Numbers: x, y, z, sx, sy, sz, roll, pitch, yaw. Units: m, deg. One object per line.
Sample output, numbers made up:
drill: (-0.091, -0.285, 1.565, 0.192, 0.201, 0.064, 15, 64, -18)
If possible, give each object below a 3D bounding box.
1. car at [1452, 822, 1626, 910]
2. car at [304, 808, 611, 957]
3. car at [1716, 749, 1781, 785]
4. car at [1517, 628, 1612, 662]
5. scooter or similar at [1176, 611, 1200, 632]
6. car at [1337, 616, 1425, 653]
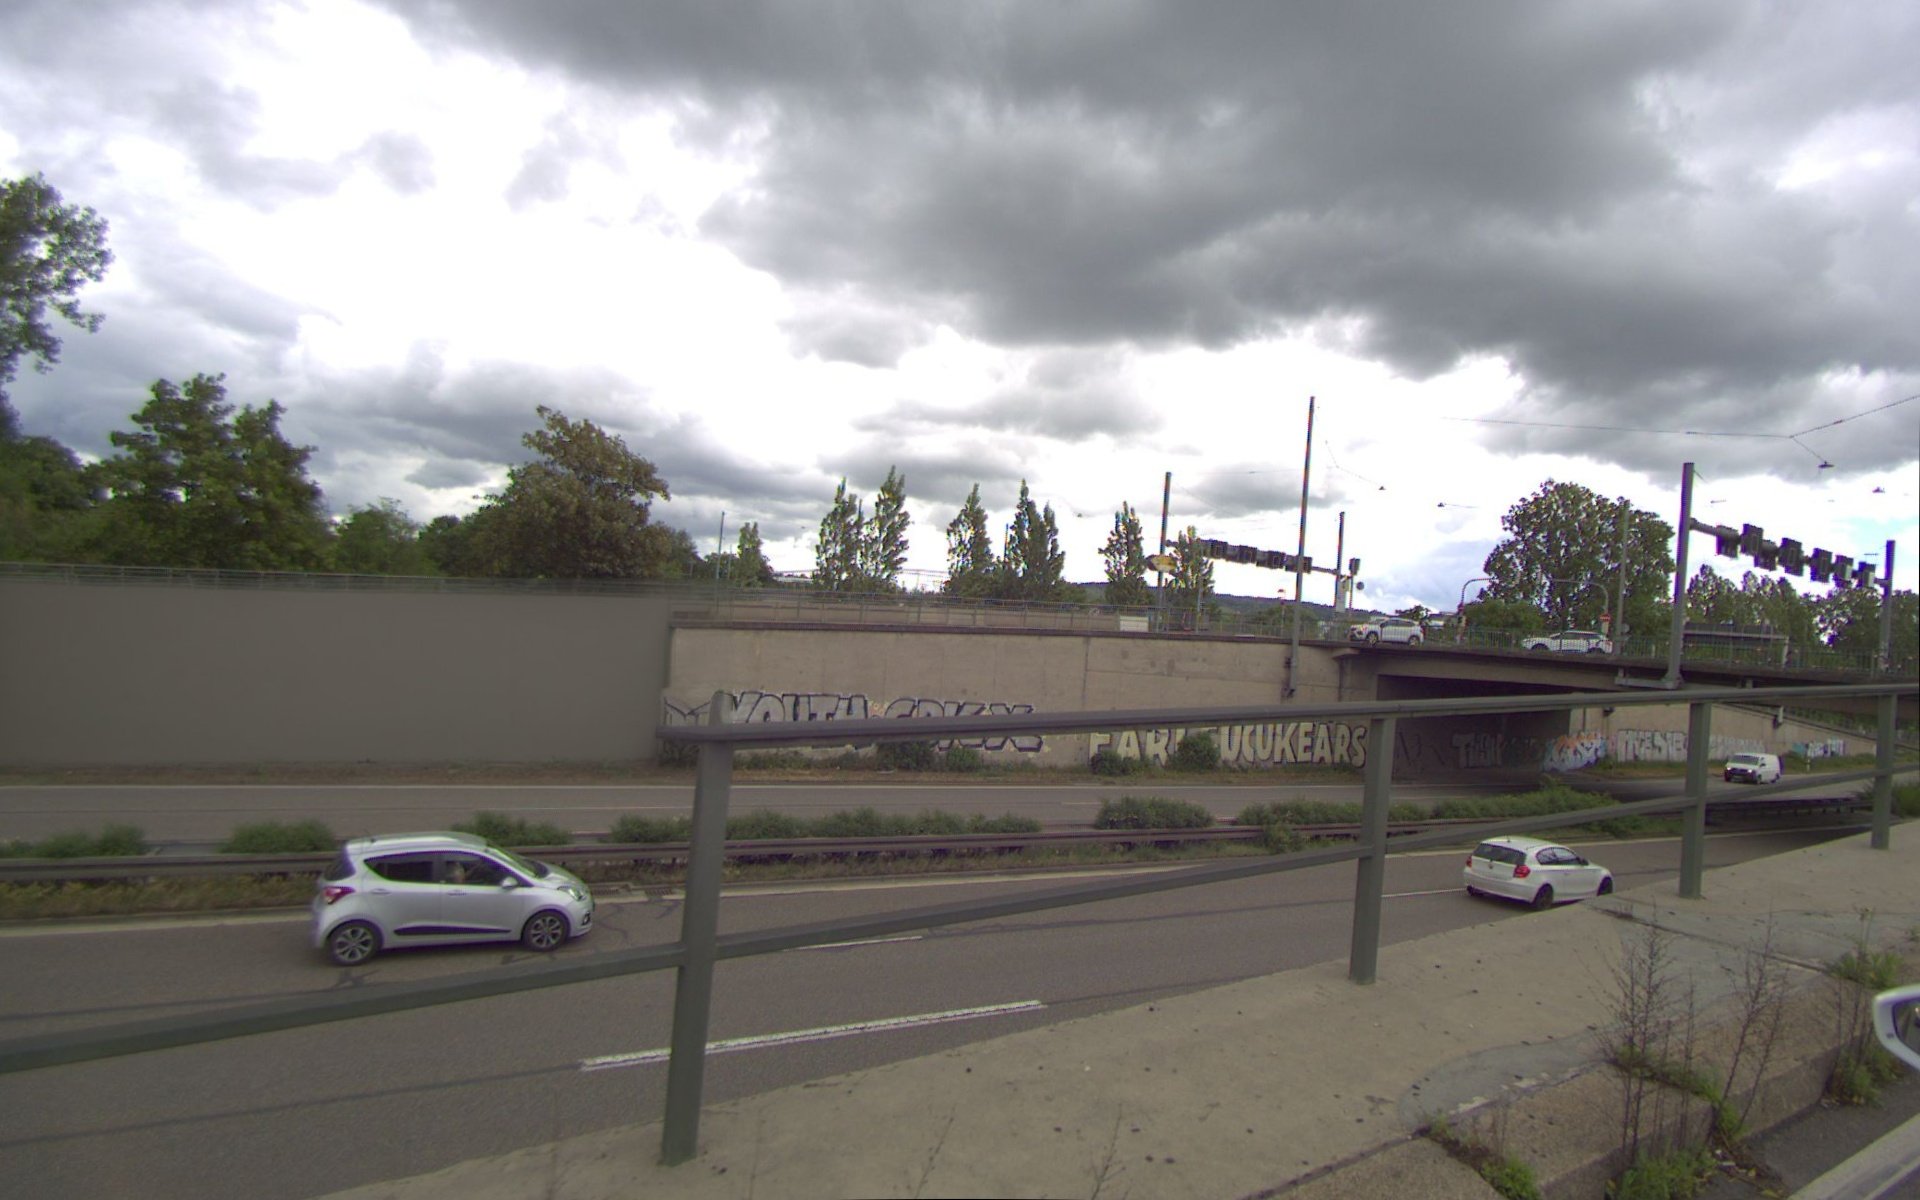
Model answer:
car: (13.677, 6.185, 23.671, 4.119, 1.470, 1.734, 6, -3, -31)
car: (-7.106, 3.930, 14.400, 3.642, 1.572, 1.549, 6, -2, -31)
car: (54.216, 11.441, 69.013, 5.126, 2.093, 1.981, 6, -2, -34)
car: (33.026, 2.448, 55.005, 4.265, 1.597, 1.837, 2, -1, 26)
scooter or similar: (13.048, 1.234, 57.449, 1.403, 1.108, 0.539, 5, -2, -36)
car: (23.793, 1.934, 56.811, 4.137, 1.895, 1.997, 2, 0, -9)
